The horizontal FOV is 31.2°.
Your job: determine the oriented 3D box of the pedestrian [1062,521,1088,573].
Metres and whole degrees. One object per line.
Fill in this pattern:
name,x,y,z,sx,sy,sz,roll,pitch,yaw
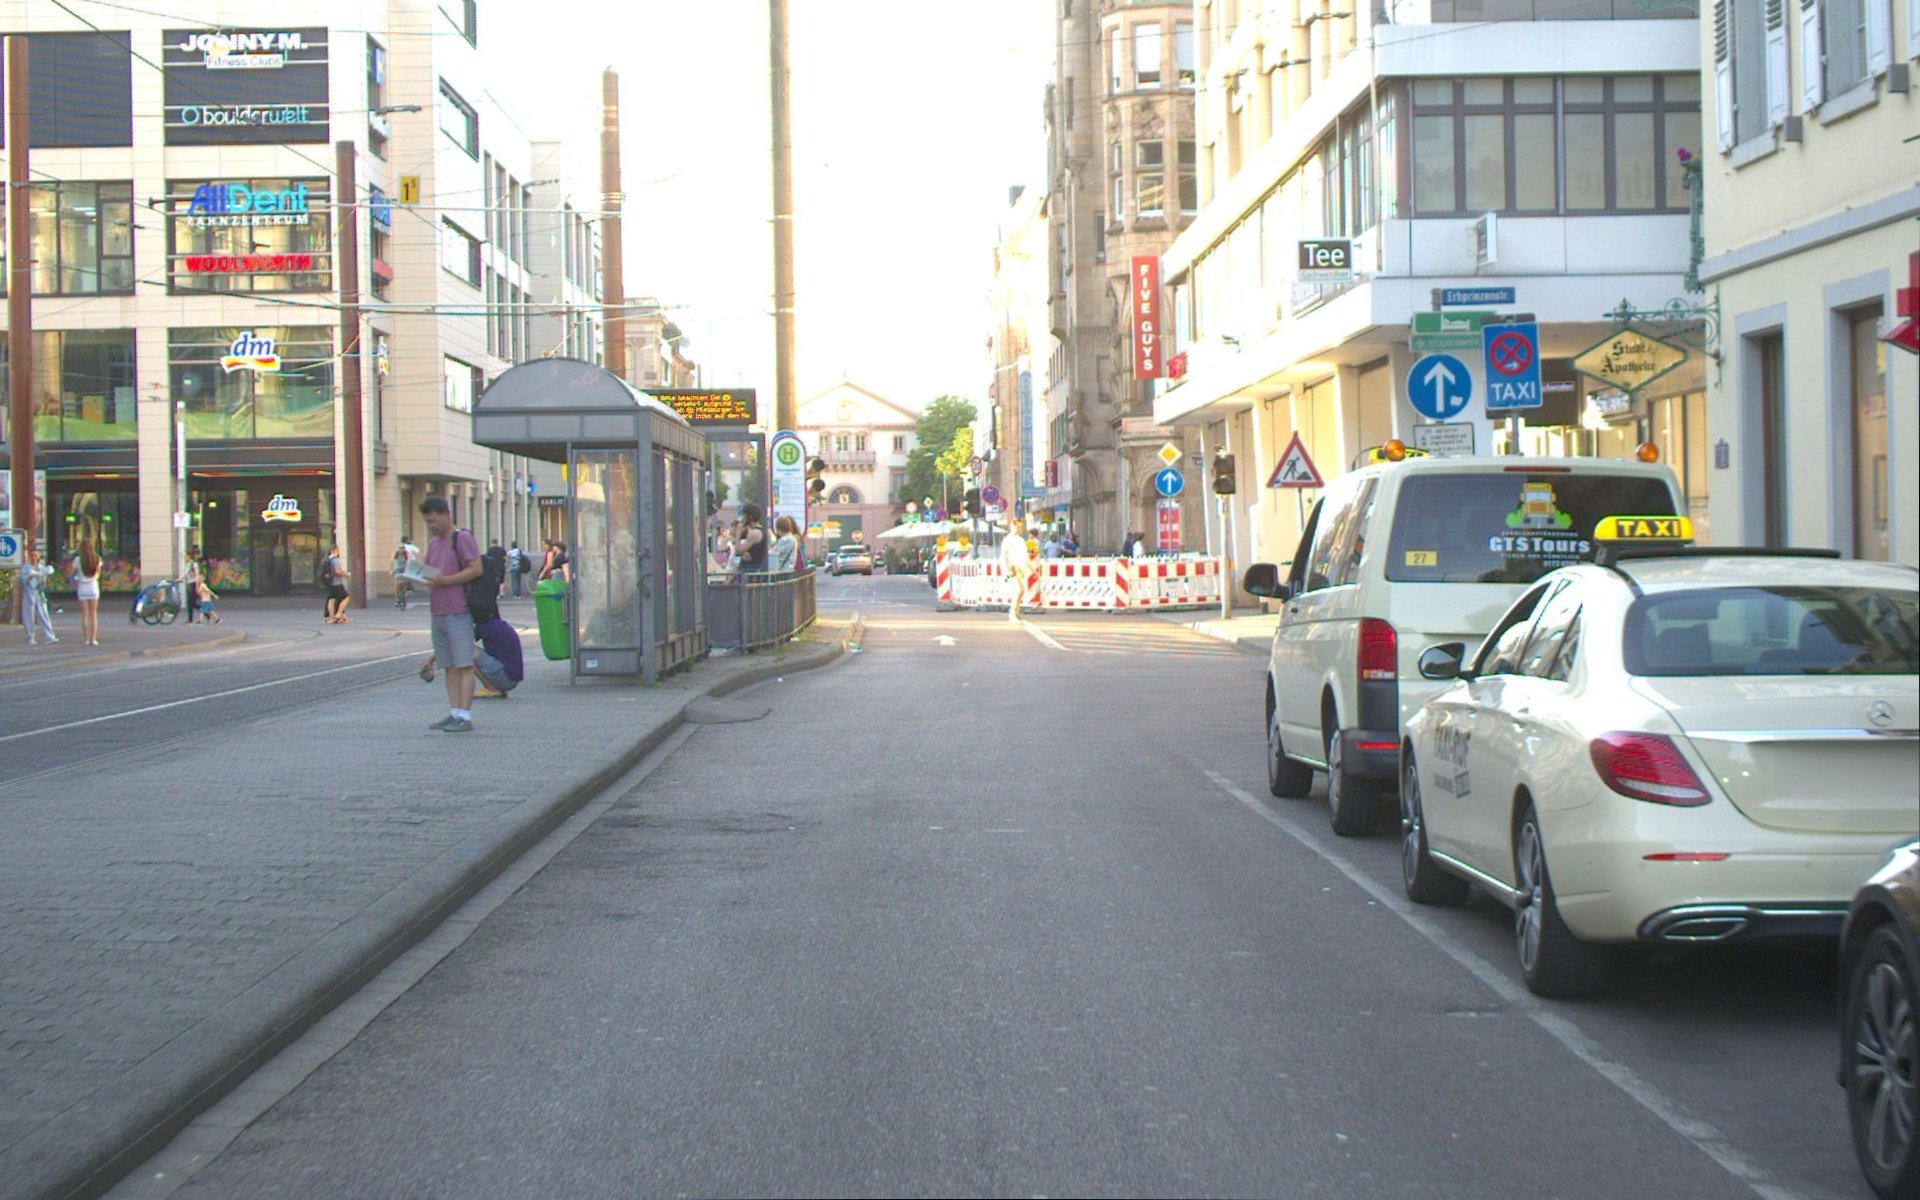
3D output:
pedestrian,3.628,-1.671,108.310,0.711,1.605,0.822,1,0,-4

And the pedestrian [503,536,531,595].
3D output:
pedestrian,-13.131,-1.025,101.869,0.782,1.745,0.600,1,0,-4

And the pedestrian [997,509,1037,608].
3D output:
pedestrian,1.047,-0.759,63.335,0.699,1.809,0.852,1,1,-1

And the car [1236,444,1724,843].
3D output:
car,2.756,0.193,19.320,1.876,1.917,4.700,2,1,-1

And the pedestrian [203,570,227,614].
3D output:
pedestrian,-16.254,-0.172,74.988,0.421,0.962,0.418,0,1,1

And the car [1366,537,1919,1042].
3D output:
car,2.756,0.535,12.759,1.806,1.478,4.779,1,1,-1

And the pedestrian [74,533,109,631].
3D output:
pedestrian,-13.594,-0.281,53.816,0.525,1.520,0.503,0,1,-15

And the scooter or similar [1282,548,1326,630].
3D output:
scooter or similar,5.253,-0.180,52.521,0.505,1.230,1.180,-1,1,-2

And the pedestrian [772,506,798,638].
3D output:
pedestrian,-2.398,-0.383,47.039,0.341,1.789,0.544,1,0,-3

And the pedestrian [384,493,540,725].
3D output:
pedestrian,-3.568,0.054,24.656,0.687,1.632,0.859,1,1,40

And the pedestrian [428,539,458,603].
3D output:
pedestrian,-13.708,-0.773,91.229,0.649,1.668,0.530,-1,1,7

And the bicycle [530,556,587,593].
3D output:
bicycle,-12.513,-0.792,107.230,1.696,1.118,0.451,1,0,2

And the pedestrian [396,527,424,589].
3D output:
pedestrian,-16.392,-1.247,102.503,0.573,1.848,0.816,1,0,11

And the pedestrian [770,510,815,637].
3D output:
pedestrian,-2.336,-0.367,47.951,0.539,1.761,0.594,1,0,4

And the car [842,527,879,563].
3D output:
car,-5.366,-2.935,185.330,1.993,1.897,4.000,1,1,-2

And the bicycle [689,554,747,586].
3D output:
bicycle,-8.562,-1.050,121.625,1.967,1.118,0.558,0,1,-30

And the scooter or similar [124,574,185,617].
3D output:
scooter or similar,-17.450,-0.093,74.503,1.093,0.901,0.890,-1,1,0

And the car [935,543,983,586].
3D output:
car,-0.051,-1.327,128.871,1.679,1.542,3.673,-2,1,-2

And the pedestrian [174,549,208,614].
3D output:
pedestrian,-16.813,-0.409,75.206,0.639,1.415,0.418,0,1,1

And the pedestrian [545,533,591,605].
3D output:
pedestrian,-8.863,-0.699,77.642,0.821,1.608,0.693,-1,1,-26

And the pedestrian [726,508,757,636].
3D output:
pedestrian,-2.807,-0.359,44.213,0.385,1.636,0.549,1,0,-3

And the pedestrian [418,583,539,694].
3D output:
pedestrian,-4.155,0.325,29.688,0.799,0.936,0.692,0,1,22

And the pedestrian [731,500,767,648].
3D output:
pedestrian,-2.528,-0.313,41.205,0.412,1.761,0.594,1,0,-3

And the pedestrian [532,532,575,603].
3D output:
pedestrian,-9.263,-0.748,78.345,0.769,1.608,0.667,-1,1,-26

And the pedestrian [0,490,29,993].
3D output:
pedestrian,-3.277,0.426,10.092,0.846,1.496,0.901,0,1,-1

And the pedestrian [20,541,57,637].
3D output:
pedestrian,-14.706,-0.177,54.857,0.499,1.520,0.520,-1,1,-21

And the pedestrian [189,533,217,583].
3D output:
pedestrian,-23.160,-1.283,105.209,0.573,1.521,0.790,1,0,11

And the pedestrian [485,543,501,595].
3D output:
pedestrian,-13.768,-0.914,101.380,0.390,1.510,0.506,-1,1,-2

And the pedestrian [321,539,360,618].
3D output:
pedestrian,-13.375,-0.466,74.244,0.743,1.694,0.610,-1,1,-3

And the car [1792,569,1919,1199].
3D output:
car,3.007,0.694,6.199,1.726,1.472,4.821,1,1,-1

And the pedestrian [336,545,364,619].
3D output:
pedestrian,-13.258,-0.389,74.742,0.569,1.587,0.448,-1,1,-9
